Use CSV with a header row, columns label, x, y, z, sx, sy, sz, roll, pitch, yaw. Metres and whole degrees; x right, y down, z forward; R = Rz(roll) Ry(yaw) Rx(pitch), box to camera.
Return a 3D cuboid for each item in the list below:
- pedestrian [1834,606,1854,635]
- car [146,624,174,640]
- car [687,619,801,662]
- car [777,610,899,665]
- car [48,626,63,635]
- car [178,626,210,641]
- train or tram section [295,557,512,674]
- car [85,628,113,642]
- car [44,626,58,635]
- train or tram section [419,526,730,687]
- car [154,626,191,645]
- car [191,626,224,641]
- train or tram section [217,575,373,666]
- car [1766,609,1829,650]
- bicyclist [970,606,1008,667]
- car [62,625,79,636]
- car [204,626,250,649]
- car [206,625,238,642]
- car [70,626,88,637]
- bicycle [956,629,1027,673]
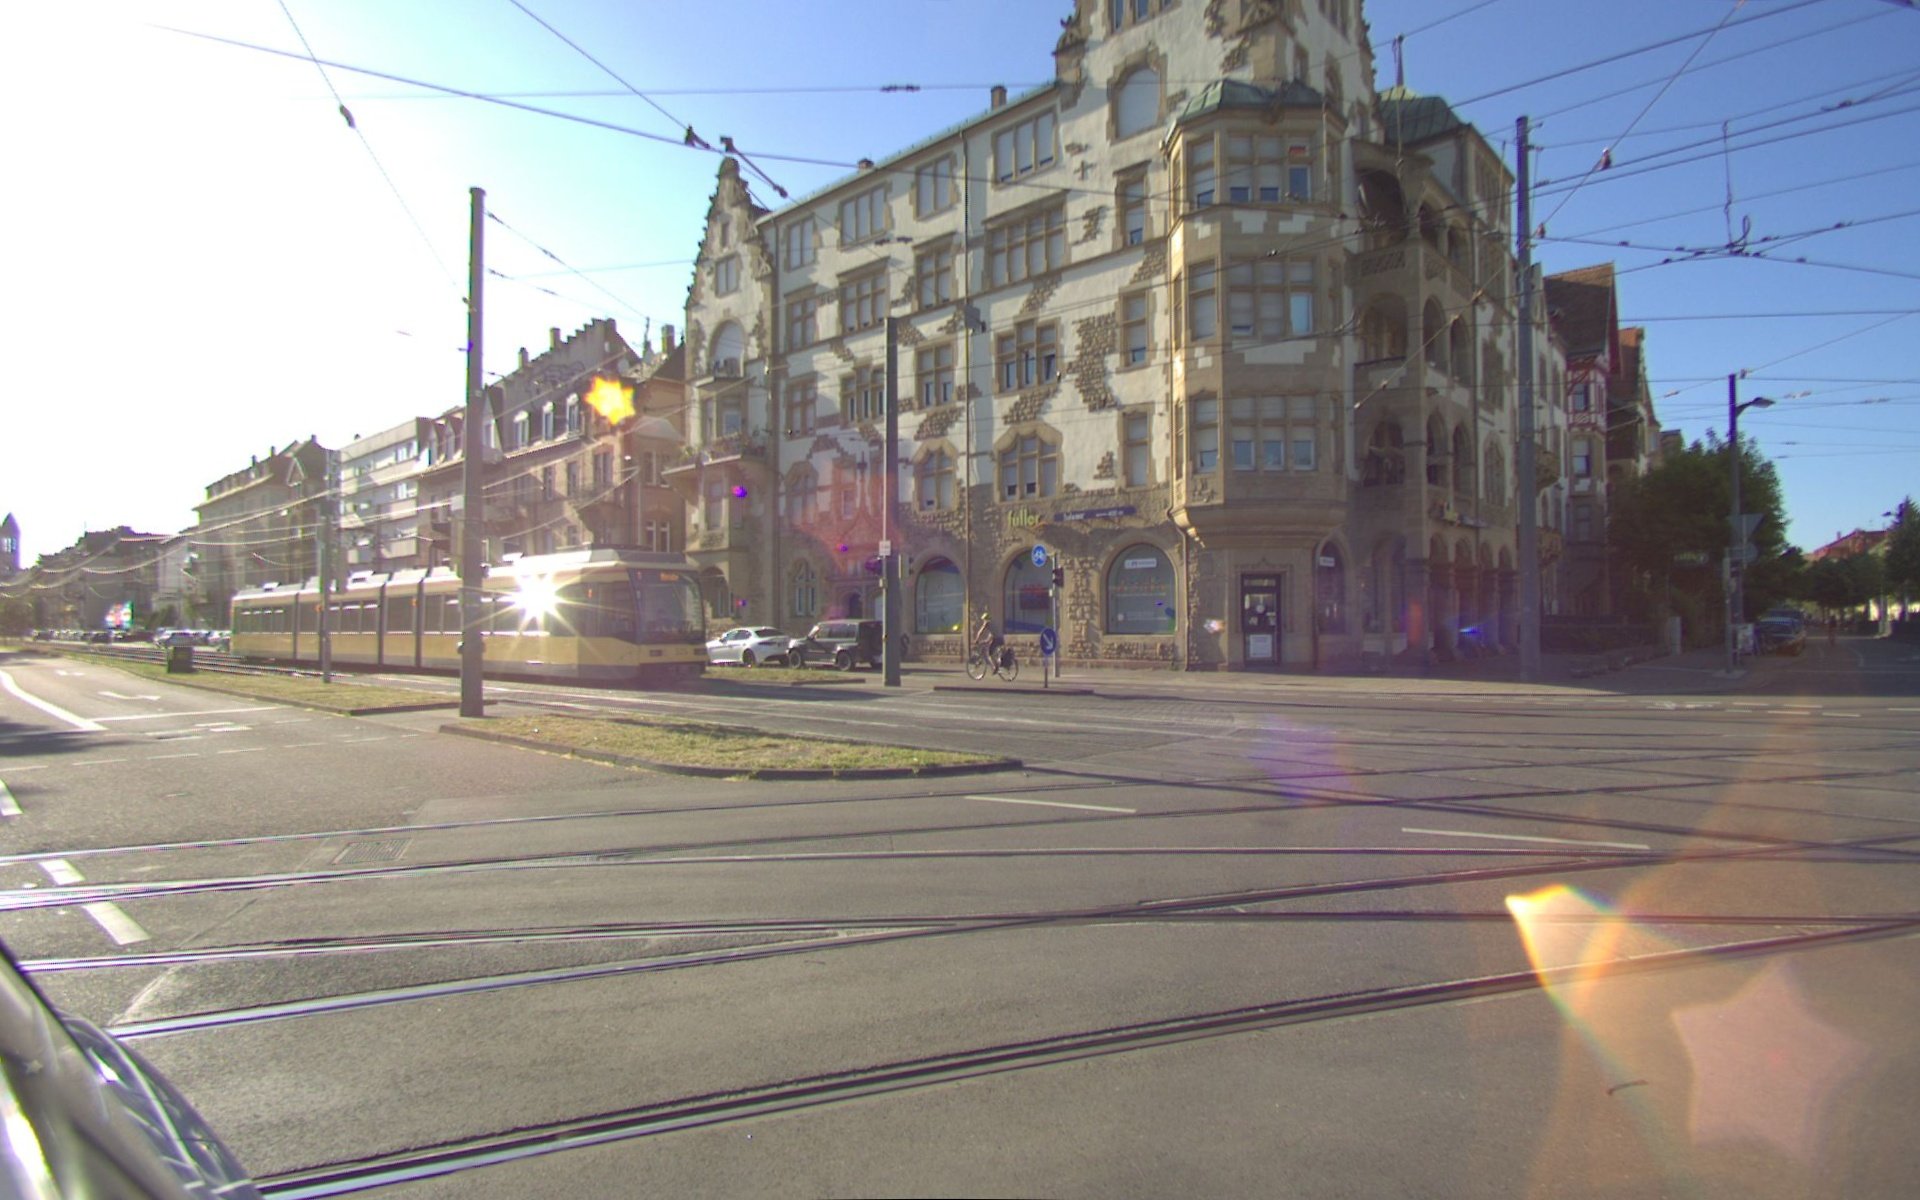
label,x,y,z,sx,sy,sz,roll,pitch,yaw
pedestrian,49.117,1.118,56.217,0.539,1.606,0.629,-1,-1,3
car,-88.793,3.554,112.339,3.916,1.750,1.850,-2,0,43
car,-8.122,1.504,37.870,4.654,1.433,1.699,-2,1,41
car,-4.170,1.246,34.316,4.215,1.688,1.699,-2,1,41
car,-162.755,5.522,182.119,3.450,1.602,1.602,-1,0,43
car,-76.673,3.342,101.302,3.532,1.457,1.623,-2,0,36
train or tram section,-20.167,0.601,35.984,13.203,3.516,2.782,-2,-2,43
car,-93.752,3.812,110.167,4.165,1.468,1.800,-1,-2,42
car,-166.483,5.629,185.296,3.450,1.602,1.602,-1,0,43
train or tram section,-10.895,0.273,27.353,12.153,3.516,2.782,-2,-2,43
car,-63.160,2.834,81.146,4.542,1.468,1.799,-2,-2,44
car,-73.295,3.260,98.583,3.821,1.441,1.779,-2,0,41
train or tram section,-29.837,0.941,44.998,13.203,3.516,2.782,-2,-2,43
car,31.315,1.086,37.805,1.697,1.435,3.875,-2,-2,41
bicyclist,0.794,0.976,27.504,0.838,1.627,0.578,-2,-2,41
car,-141.703,4.857,161.241,3.450,1.602,1.602,-1,0,43
car,-48.873,2.506,67.469,4.158,1.468,1.799,-2,-2,44
car,-69.403,3.172,95.175,3.823,1.490,1.778,-2,0,43
car,-135.057,4.838,155.136,3.450,1.602,1.602,-1,0,43
bicycle,0.843,1.371,27.462,1.990,1.131,0.578,-2,-2,41
